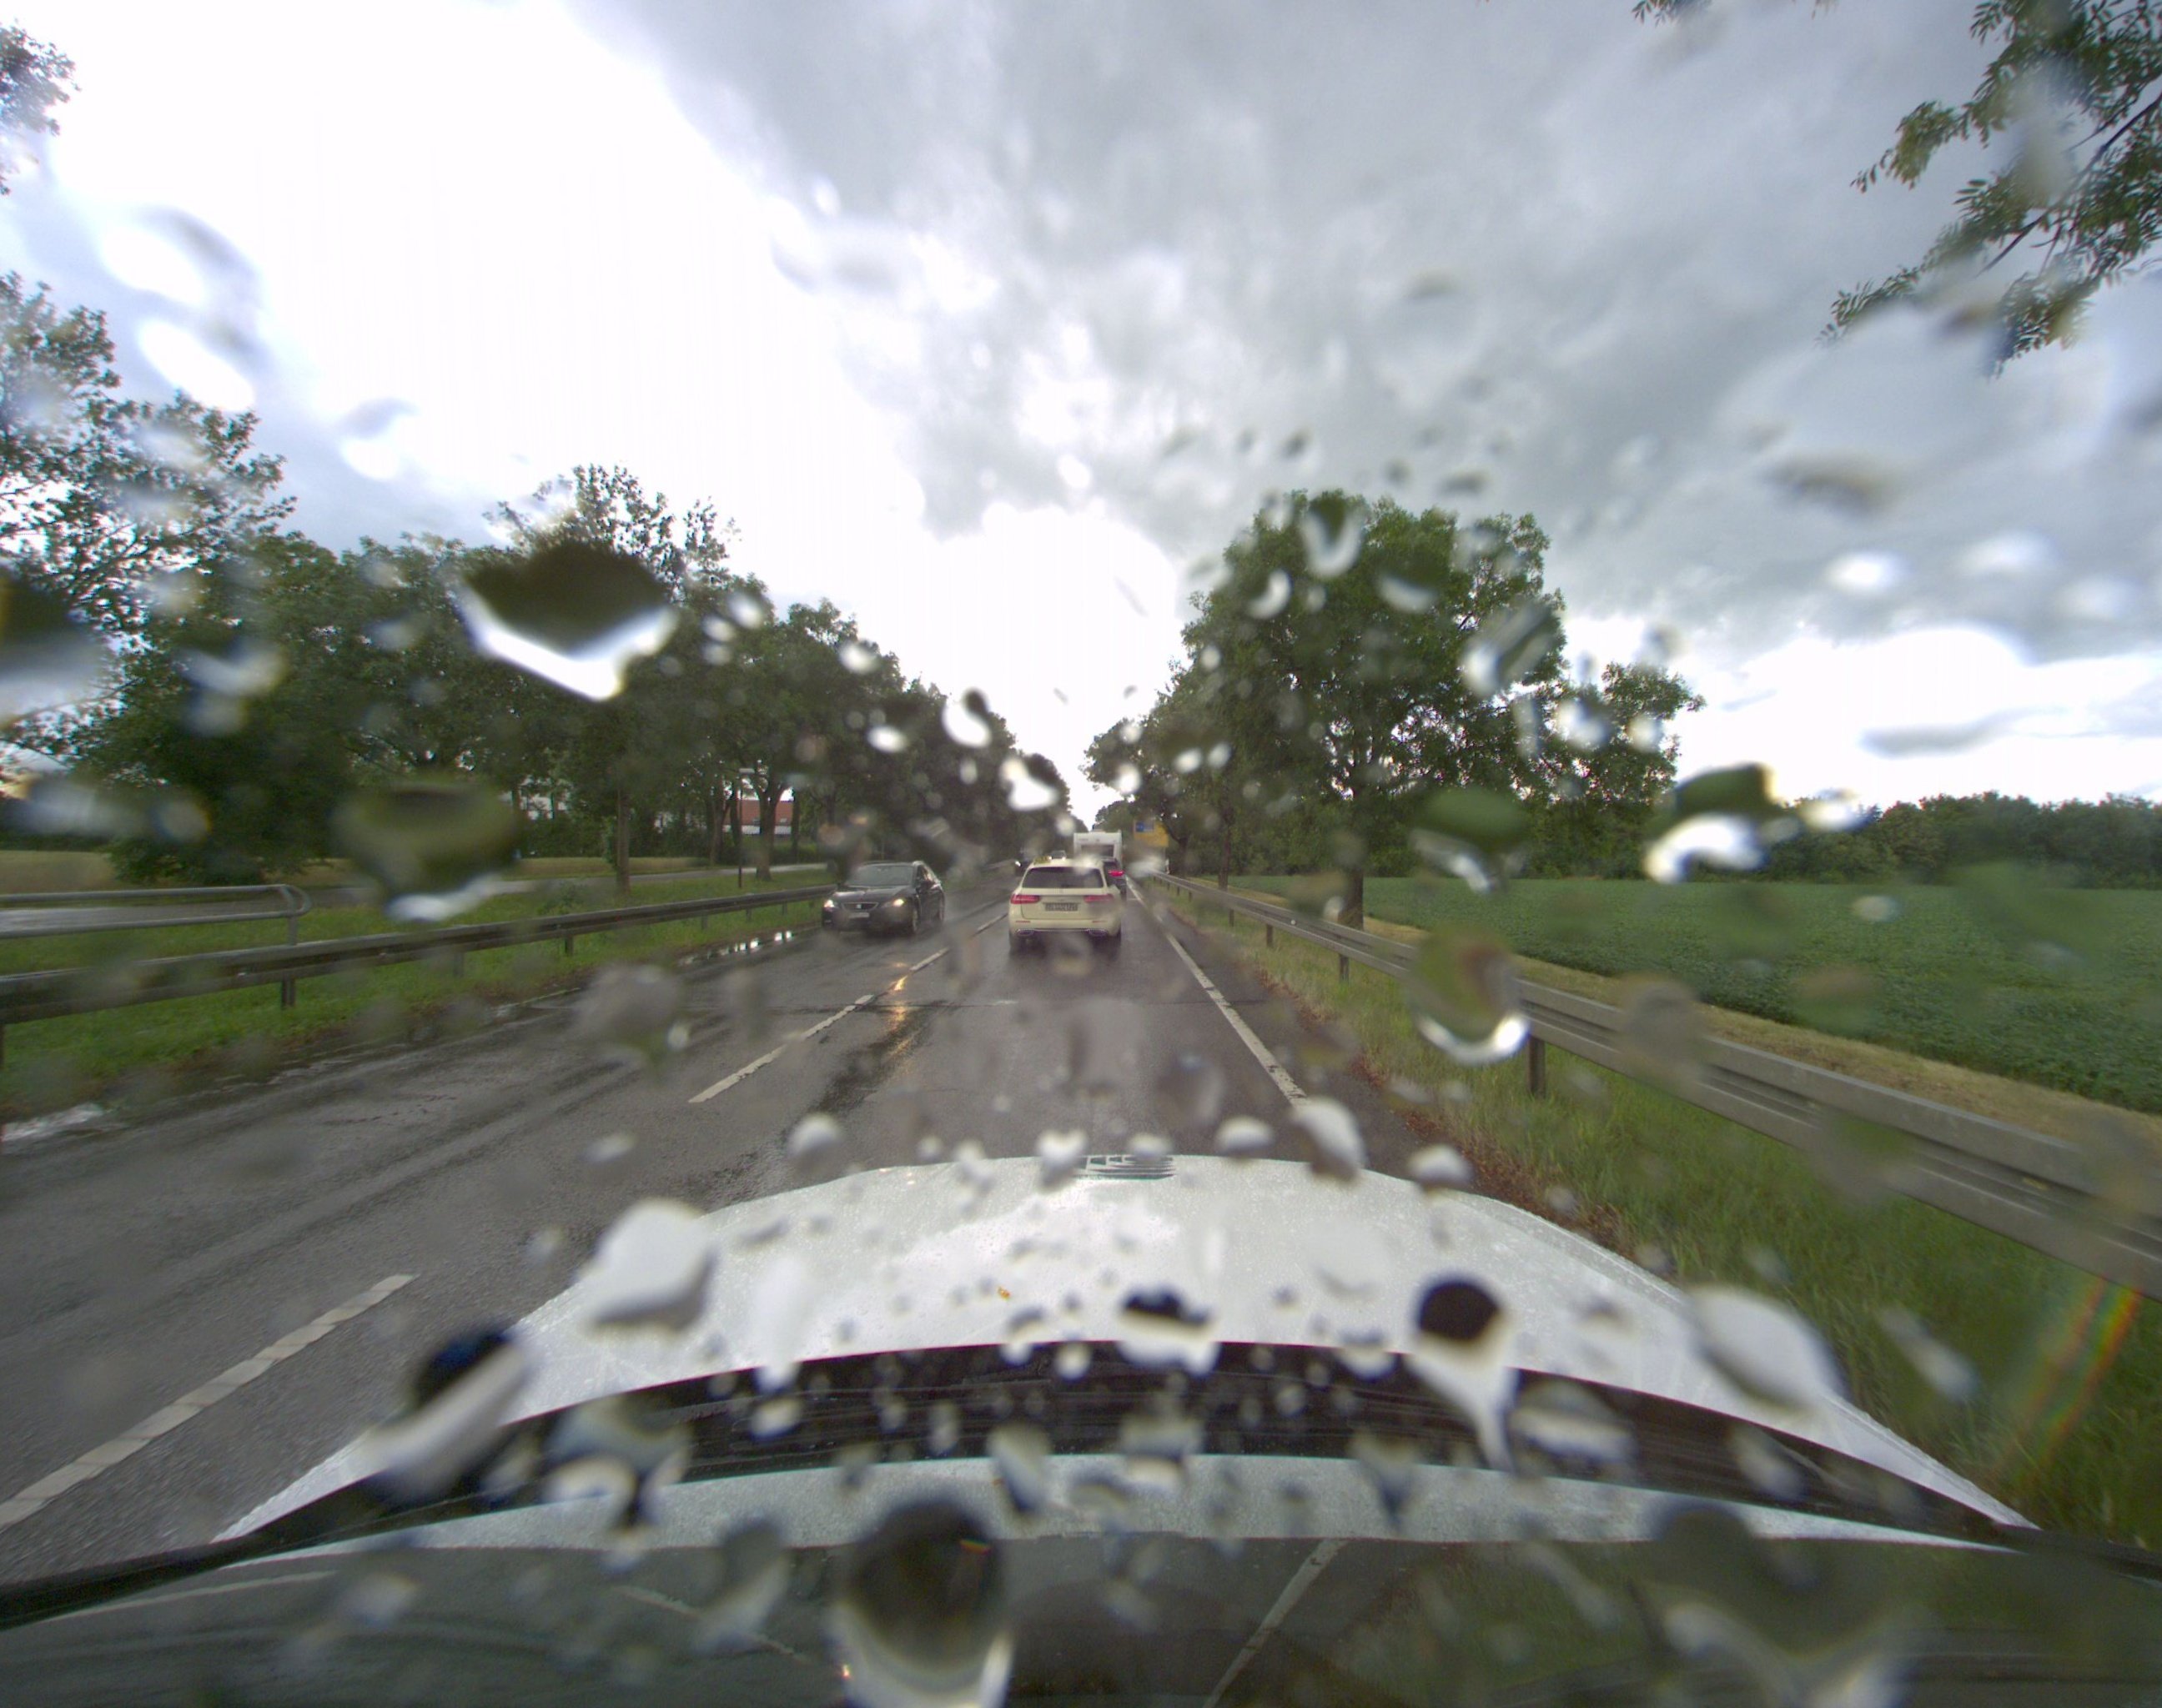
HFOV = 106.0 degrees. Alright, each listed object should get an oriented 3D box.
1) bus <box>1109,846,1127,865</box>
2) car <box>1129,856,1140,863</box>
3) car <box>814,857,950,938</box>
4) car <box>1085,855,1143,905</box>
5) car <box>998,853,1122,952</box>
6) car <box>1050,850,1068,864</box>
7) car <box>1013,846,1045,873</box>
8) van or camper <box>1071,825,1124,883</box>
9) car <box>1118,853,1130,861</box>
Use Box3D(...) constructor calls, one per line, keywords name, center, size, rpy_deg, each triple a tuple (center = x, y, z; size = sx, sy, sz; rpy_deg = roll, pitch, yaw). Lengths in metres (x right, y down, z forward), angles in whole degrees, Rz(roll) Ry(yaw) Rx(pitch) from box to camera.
Box3D(name="bus", center=(4.105, 0.119, 90.925), size=(1.986, 2.013, 4.001), rpy_deg=(-1, 0, 1))
Box3D(name="car", center=(8.150, 0.837, 123.985), size=(1.545, 1.118, 4.003), rpy_deg=(0, -1, 3))
Box3D(name="car", center=(-3.960, 0.796, 16.911), size=(1.708, 1.451, 4.112), rpy_deg=(0, 0, 1))
Box3D(name="car", center=(1.070, 0.771, 25.803), size=(1.657, 1.430, 4.003), rpy_deg=(-1, 0, 3))
Box3D(name="car", center=(-0.223, 0.738, 14.379), size=(1.857, 1.476, 4.003), rpy_deg=(-1, 0, 3))
Box3D(name="car", center=(-2.275, 0.334, 84.944), size=(1.622, 1.438, 3.961), rpy_deg=(0, 0, 1))
Box3D(name="car", center=(-3.641, 0.378, 57.295), size=(1.821, 1.803, 4.416), rpy_deg=(-1, 0, 1))
Box3D(name="van or camper", center=(0.903, -0.002, 40.729), size=(2.479, 2.685, 5.704), rpy_deg=(0, 0, 3))
Box3D(name="car", center=(6.000, 0.445, 114.698), size=(1.546, 1.118, 4.001), rpy_deg=(0, -1, 1))
